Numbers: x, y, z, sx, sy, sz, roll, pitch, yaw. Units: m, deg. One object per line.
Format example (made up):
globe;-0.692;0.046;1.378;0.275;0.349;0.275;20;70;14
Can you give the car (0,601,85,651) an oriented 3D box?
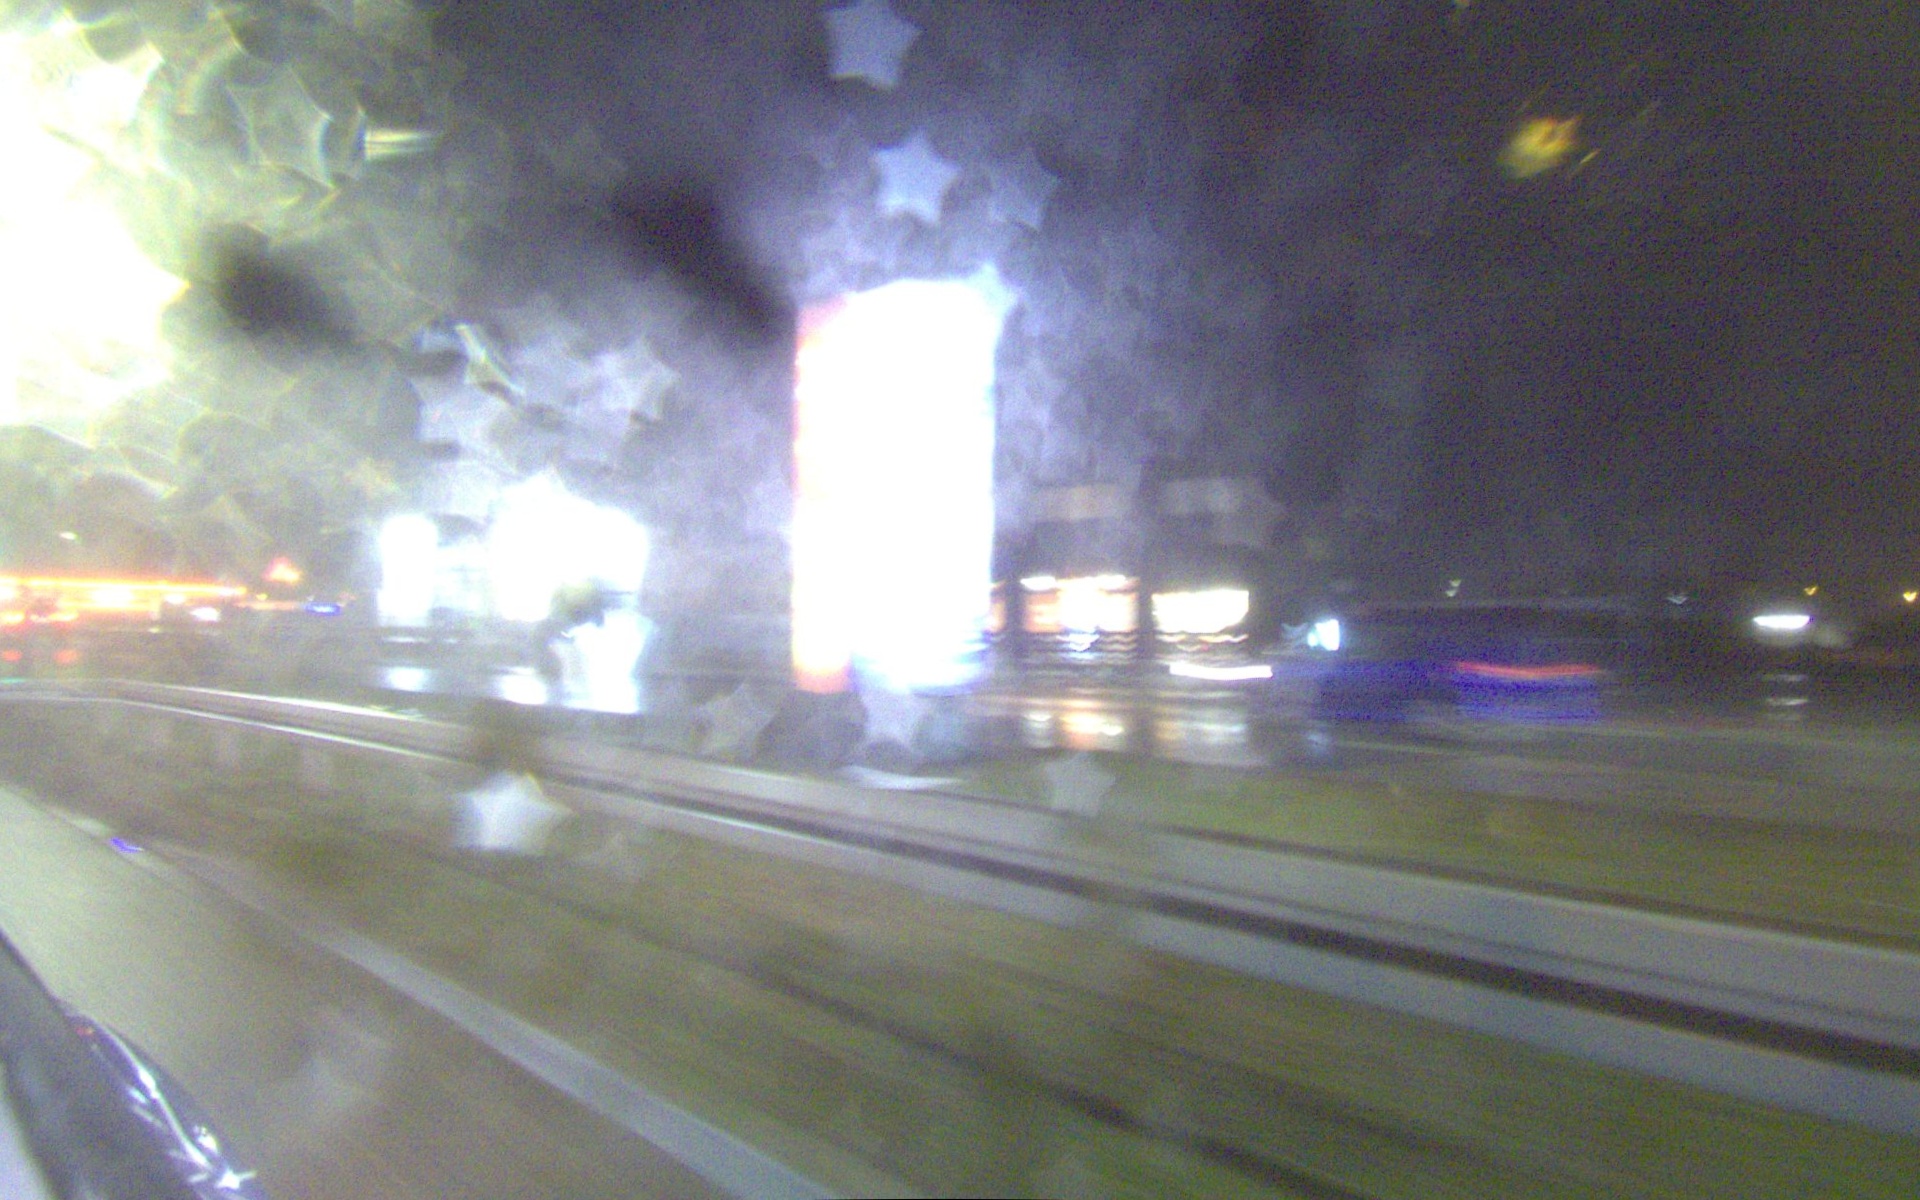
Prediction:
car;-32.288;0.857;34.615;3.974;1.606;1.985;0;-2;23

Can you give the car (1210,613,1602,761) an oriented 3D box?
car;5.092;0.887;11.814;3.947;1.438;1.552;0;-1;38
